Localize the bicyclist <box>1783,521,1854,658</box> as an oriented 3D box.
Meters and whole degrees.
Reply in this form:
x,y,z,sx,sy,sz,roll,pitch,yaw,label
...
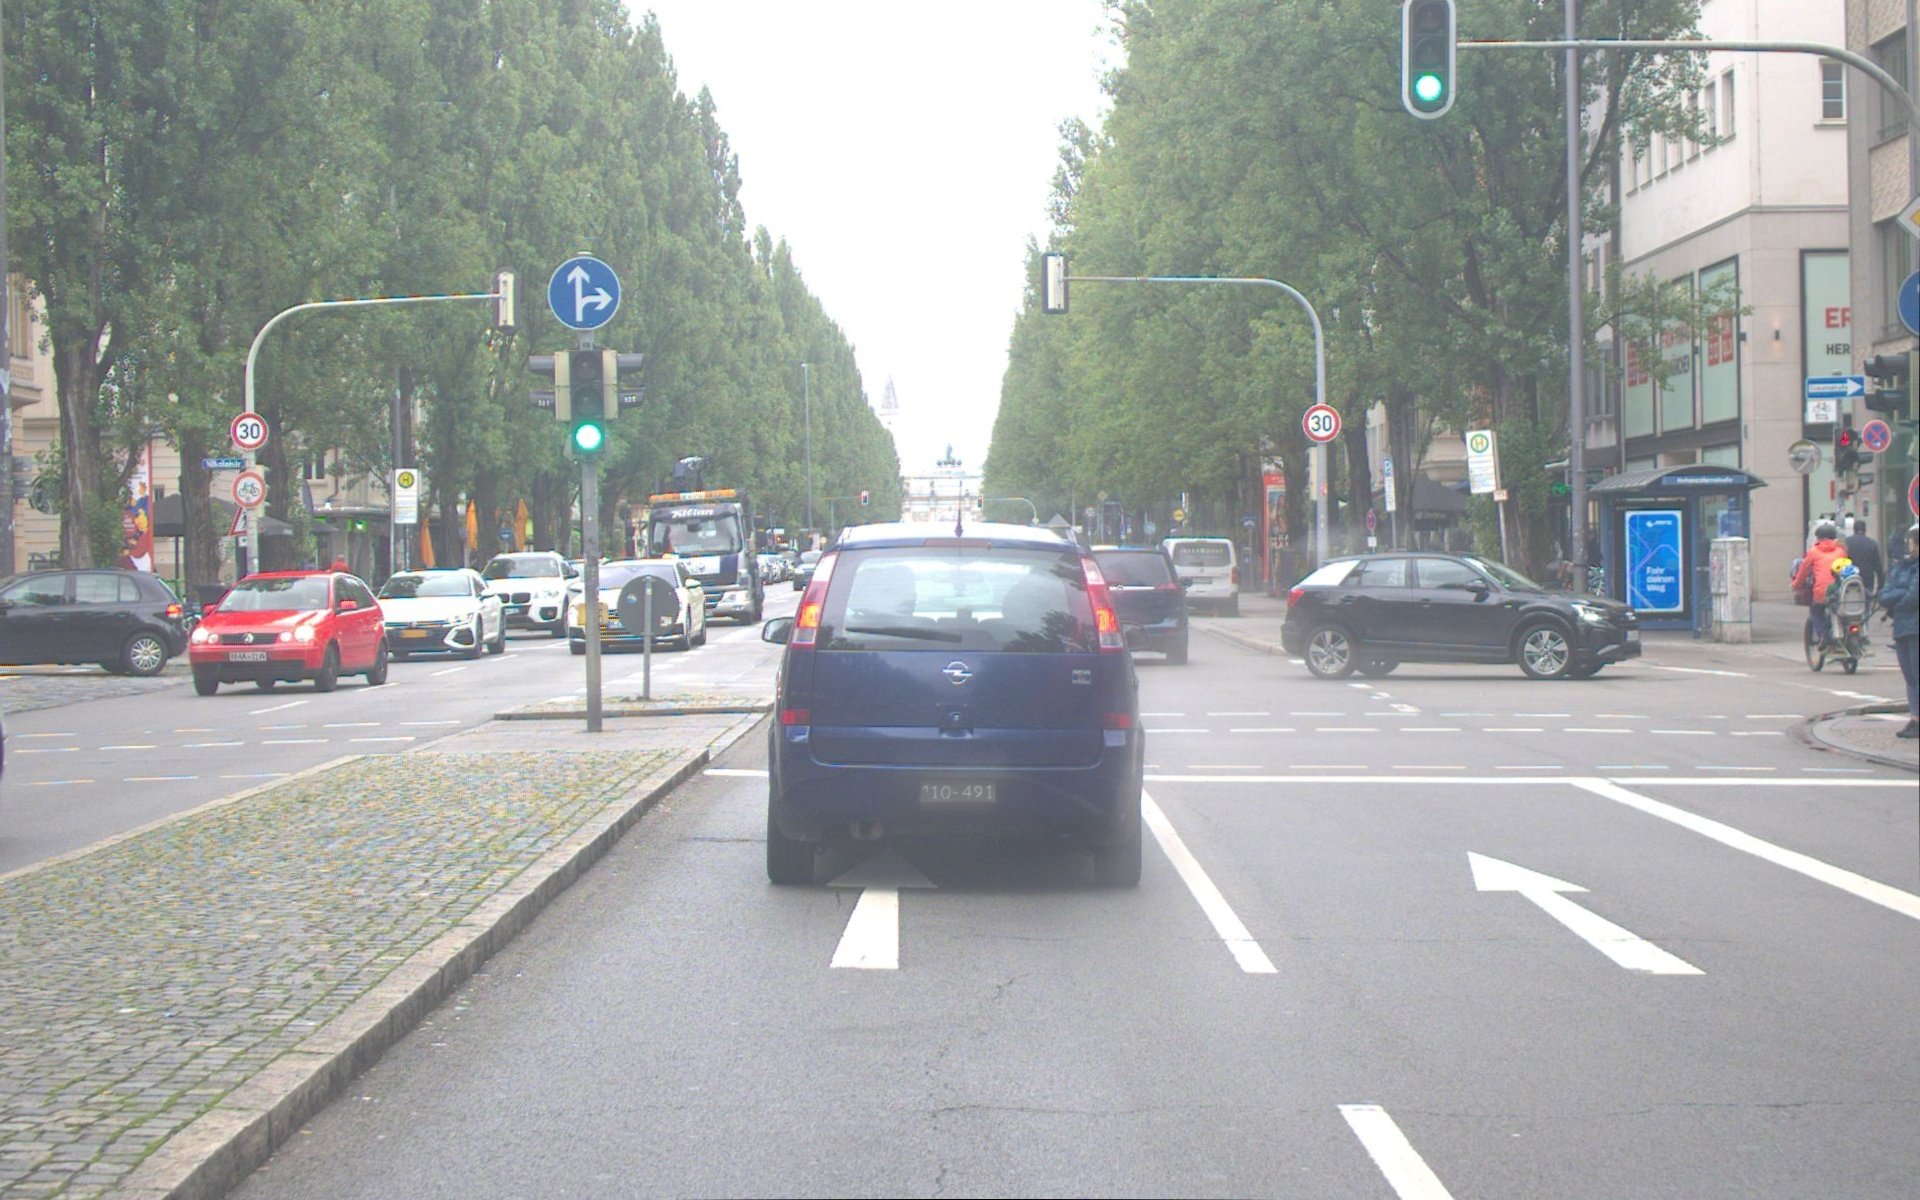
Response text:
x,y,z,sx,sy,sz,roll,pitch,yaw,label
10.076,-0.124,40.381,0.621,1.583,0.753,-1,1,-1,bicyclist

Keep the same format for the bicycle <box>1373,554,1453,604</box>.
x,y,z,sx,sy,sz,roll,pitch,yaw,label
10.296,-0.484,78.140,1.737,1.106,0.448,-1,1,-10,bicycle

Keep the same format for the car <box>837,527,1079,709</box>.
x,y,z,sx,sy,sz,roll,pitch,yaw,label
-0.052,0.111,30.640,1.993,1.492,4.000,-1,1,-1,car

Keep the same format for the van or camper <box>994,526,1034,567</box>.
x,y,z,sx,sy,sz,roll,pitch,yaw,label
3.481,-3.461,221.238,2.477,2.572,5.844,-1,1,0,van or camper

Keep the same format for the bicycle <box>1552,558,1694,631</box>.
x,y,z,sx,sy,sz,roll,pitch,yaw,label
11.556,-0.102,59.933,2.343,1.248,0.633,0,1,0,bicycle

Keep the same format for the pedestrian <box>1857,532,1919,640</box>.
x,y,z,sx,sy,sz,roll,pitch,yaw,label
14.507,-0.226,53.696,0.750,1.671,0.963,-1,1,1,pedestrian

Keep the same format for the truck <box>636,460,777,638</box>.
x,y,z,sx,sy,sz,roll,pitch,yaw,label
-5.502,-1.135,75.803,2.463,3.657,8.440,-1,1,0,truck

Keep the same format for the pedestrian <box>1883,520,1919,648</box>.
x,y,z,sx,sy,sz,roll,pitch,yaw,label
13.269,-0.230,47.721,0.708,1.752,0.752,-1,1,1,pedestrian

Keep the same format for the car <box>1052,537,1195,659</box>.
x,y,z,sx,sy,sz,roll,pitch,yaw,label
2.206,-0.063,47.264,1.706,1.568,4.000,-1,1,-1,car

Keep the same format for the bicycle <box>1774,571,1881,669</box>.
x,y,z,sx,sy,sz,roll,pitch,yaw,label
10.086,0.217,40.059,0.626,1.083,2.264,-1,1,-1,bicycle

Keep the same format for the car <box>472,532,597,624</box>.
x,y,z,sx,sy,sz,roll,pitch,yaw,label
-8.361,-0.458,67.896,1.837,1.710,4.636,-1,1,0,car

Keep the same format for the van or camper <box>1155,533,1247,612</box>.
x,y,z,sx,sy,sz,roll,pitch,yaw,label
5.892,-0.686,84.526,1.868,1.876,4.903,0,1,0,van or camper

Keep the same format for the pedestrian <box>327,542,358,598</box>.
x,y,z,sx,sy,sz,roll,pitch,yaw,label
-18.619,-0.916,103.654,0.734,1.667,0.952,-1,1,0,pedestrian

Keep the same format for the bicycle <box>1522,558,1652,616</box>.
x,y,z,sx,sy,sz,roll,pitch,yaw,label
11.243,-0.240,61.688,2.148,1.013,0.874,0,1,0,bicycle

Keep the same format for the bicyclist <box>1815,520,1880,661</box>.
x,y,z,sx,sy,sz,roll,pitch,yaw,label
10.096,-0.112,39.122,0.621,1.583,0.391,-1,1,-1,bicyclist

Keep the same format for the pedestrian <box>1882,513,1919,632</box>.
x,y,z,sx,sy,sz,roll,pitch,yaw,label
14.156,-0.403,50.928,0.750,1.752,0.859,-1,-1,1,pedestrian

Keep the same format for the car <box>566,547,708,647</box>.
x,y,z,sx,sy,sz,roll,pitch,yaw,label
-5.238,-0.084,56.273,1.843,1.496,4.986,-1,1,0,car

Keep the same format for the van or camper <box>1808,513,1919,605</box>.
x,y,z,sx,sy,sz,roll,pitch,yaw,label
19.940,-0.839,71.688,4.105,1.860,1.898,1,0,4,van or camper

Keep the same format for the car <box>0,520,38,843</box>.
x,y,z,sx,sy,sz,roll,pitch,yaw,label
-5.811,0.473,15.756,1.843,1.630,4.575,-2,1,1,car

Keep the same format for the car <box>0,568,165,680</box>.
x,y,z,sx,sy,sz,roll,pitch,yaw,label
-12.891,0.324,47.192,3.690,1.470,1.773,-1,1,-18,car

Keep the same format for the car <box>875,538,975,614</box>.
x,y,z,sx,sy,sz,roll,pitch,yaw,label
-0.737,-0.512,70.742,1.993,1.492,4.000,-1,1,-1,car

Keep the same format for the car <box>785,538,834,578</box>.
x,y,z,sx,sy,sz,roll,pitch,yaw,label
-6.427,-1.805,146.880,1.913,1.675,4.586,-1,1,0,car

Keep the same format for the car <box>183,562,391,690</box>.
x,y,z,sx,sy,sz,roll,pitch,yaw,label
-8.086,0.277,41.595,1.736,1.432,3.824,-1,1,0,car

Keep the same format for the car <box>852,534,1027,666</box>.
x,y,z,sx,sy,sz,roll,pitch,yaw,label
-0.267,-0.032,41.537,1.993,1.492,4.000,-1,1,-1,car

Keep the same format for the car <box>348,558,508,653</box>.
x,y,z,sx,sy,sz,roll,pitch,yaw,label
-8.430,0.060,54.825,1.823,1.403,4.632,-1,1,0,car

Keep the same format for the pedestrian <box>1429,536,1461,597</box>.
x,y,z,sx,sy,sz,roll,pitch,yaw,label
14.736,-1.034,104.475,0.826,1.834,1.099,-1,1,3,pedestrian

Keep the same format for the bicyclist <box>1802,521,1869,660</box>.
x,y,z,sx,sy,sz,roll,pitch,yaw,label
10.084,-0.117,39.602,0.621,1.583,0.481,-1,1,-1,bicyclist

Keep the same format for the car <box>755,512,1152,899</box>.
x,y,z,sx,sy,sz,roll,pitch,yaw,label
-0.065,0.413,16.589,1.681,1.635,4.000,0,1,-1,car

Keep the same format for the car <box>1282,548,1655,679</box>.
x,y,z,sx,sy,sz,roll,pitch,yaw,label
5.994,0.143,40.541,3.993,1.456,1.757,0,1,27,car

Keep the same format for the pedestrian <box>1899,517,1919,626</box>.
x,y,z,sx,sy,sz,roll,pitch,yaw,label
15.791,-0.470,55.937,0.750,1.752,1.017,-1,1,1,pedestrian

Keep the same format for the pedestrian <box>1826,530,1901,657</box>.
x,y,z,sx,sy,sz,roll,pitch,yaw,label
13.049,-0.101,49.676,0.818,1.811,0.891,0,1,-1,pedestrian

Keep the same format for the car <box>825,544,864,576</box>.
x,y,z,sx,sy,sz,roll,pitch,yaw,label
-6.155,-2.121,183.331,1.935,1.618,4.337,-2,1,0,car

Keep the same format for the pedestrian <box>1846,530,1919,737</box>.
x,y,z,sx,sy,sz,roll,pitch,yaw,label
7.515,0.252,27.115,0.765,1.604,0.864,-1,1,-4,pedestrian
